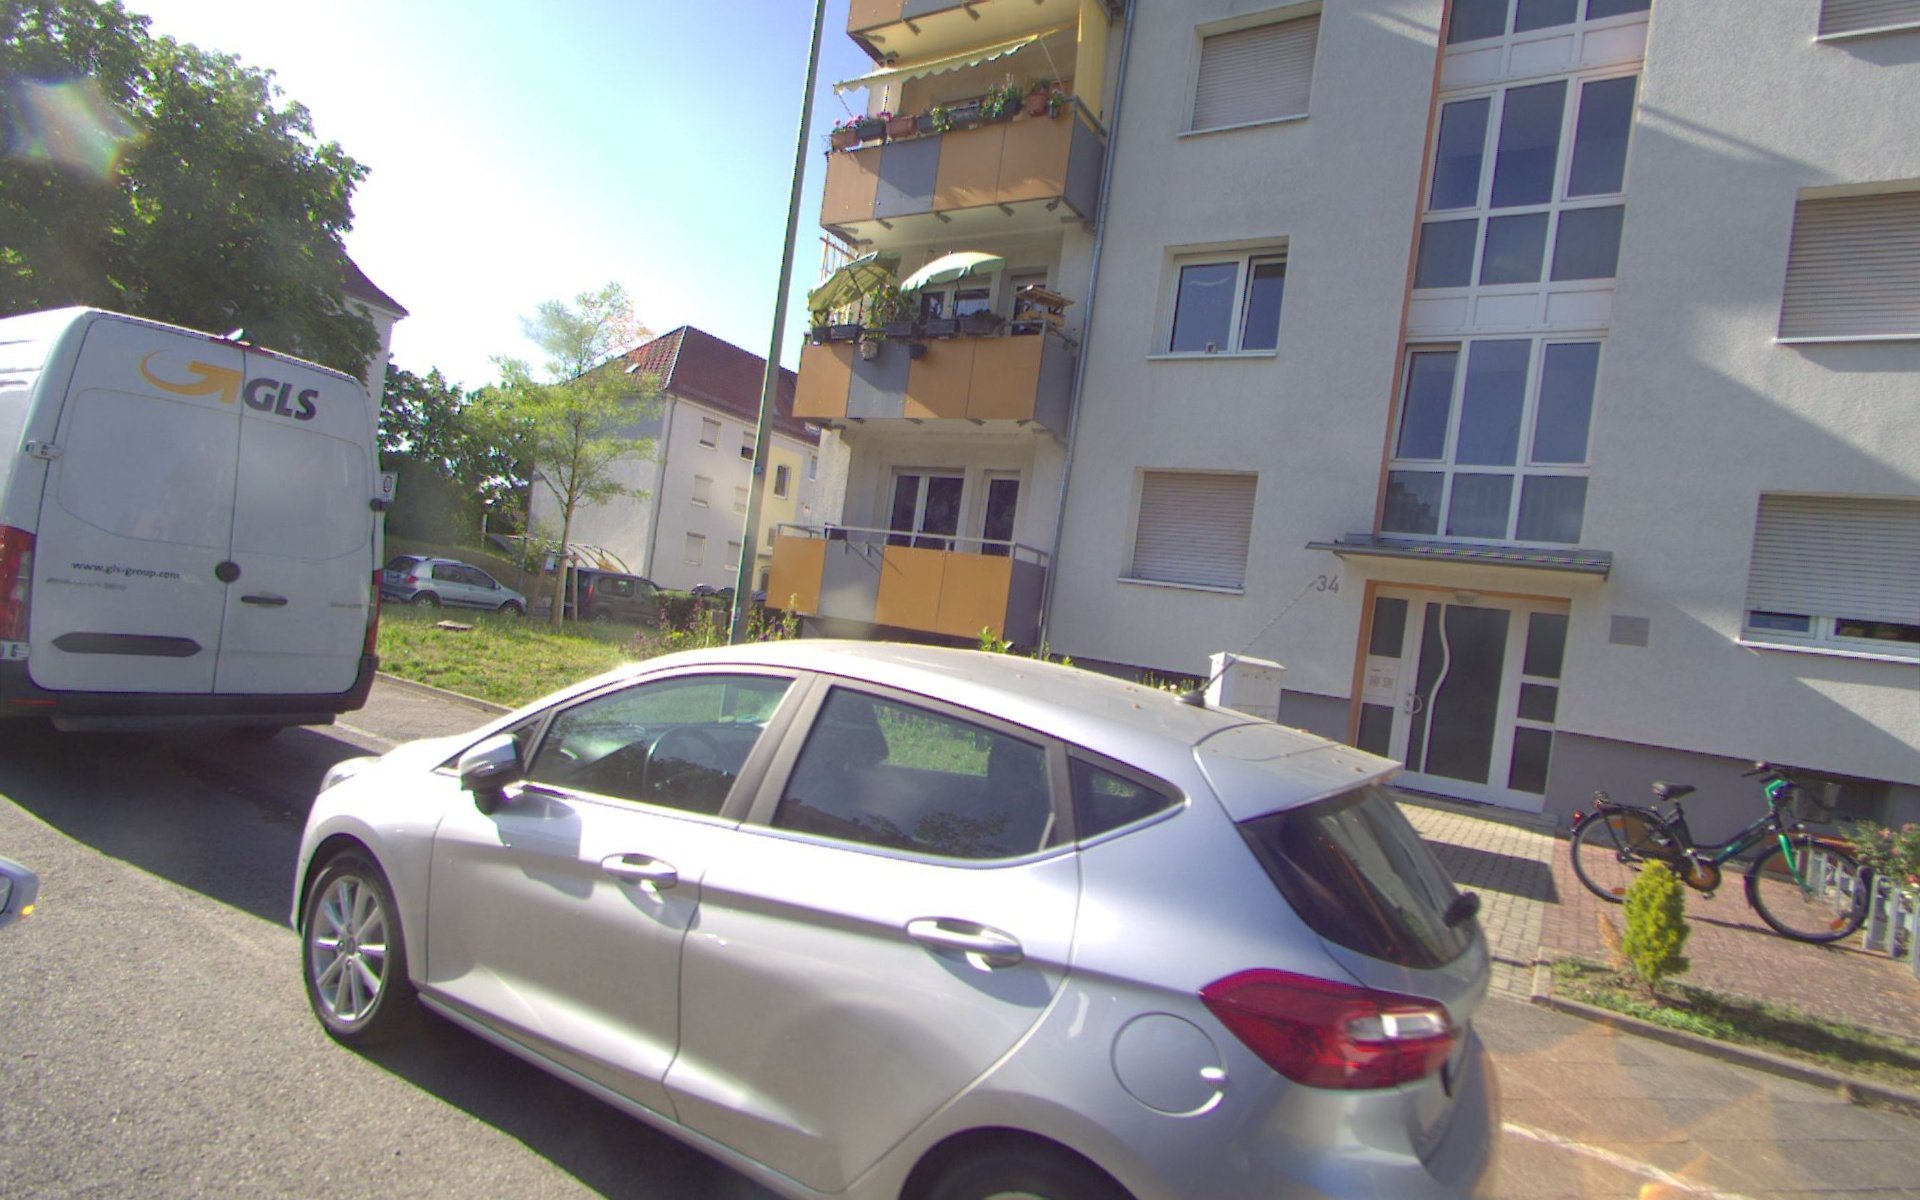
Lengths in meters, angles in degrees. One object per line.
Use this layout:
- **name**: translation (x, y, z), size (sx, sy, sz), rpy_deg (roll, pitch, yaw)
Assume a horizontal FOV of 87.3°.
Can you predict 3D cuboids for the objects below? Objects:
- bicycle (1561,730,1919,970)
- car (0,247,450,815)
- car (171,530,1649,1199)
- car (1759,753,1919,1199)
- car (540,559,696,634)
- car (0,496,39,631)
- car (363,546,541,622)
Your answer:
- **bicycle**: translation (5.317, 1.626, 6.870), size (1.981, 1.190, 0.597), rpy_deg (5, -2, 32)
- **car**: translation (-6.846, -0.578, 7.591), size (6.731, 2.747, 2.144), rpy_deg (7, 1, 34)
- **car**: translation (-0.440, 0.823, 3.256), size (4.131, 1.482, 1.853), rpy_deg (8, -2, 31)
- **car**: translation (3.501, 1.289, 0.909), size (4.072, 1.493, 1.880), rpy_deg (7, -1, 33)
- **car**: translation (-10.618, -0.070, 31.552), size (1.839, 1.750, 4.289), rpy_deg (7, -1, 32)
- **car**: translation (-13.055, -0.687, 11.921), size (4.424, 1.500, 1.961), rpy_deg (7, 0, 32)
- **car**: translation (-13.452, -0.381, 26.864), size (1.630, 1.445, 3.897), rpy_deg (7, -1, 29)
